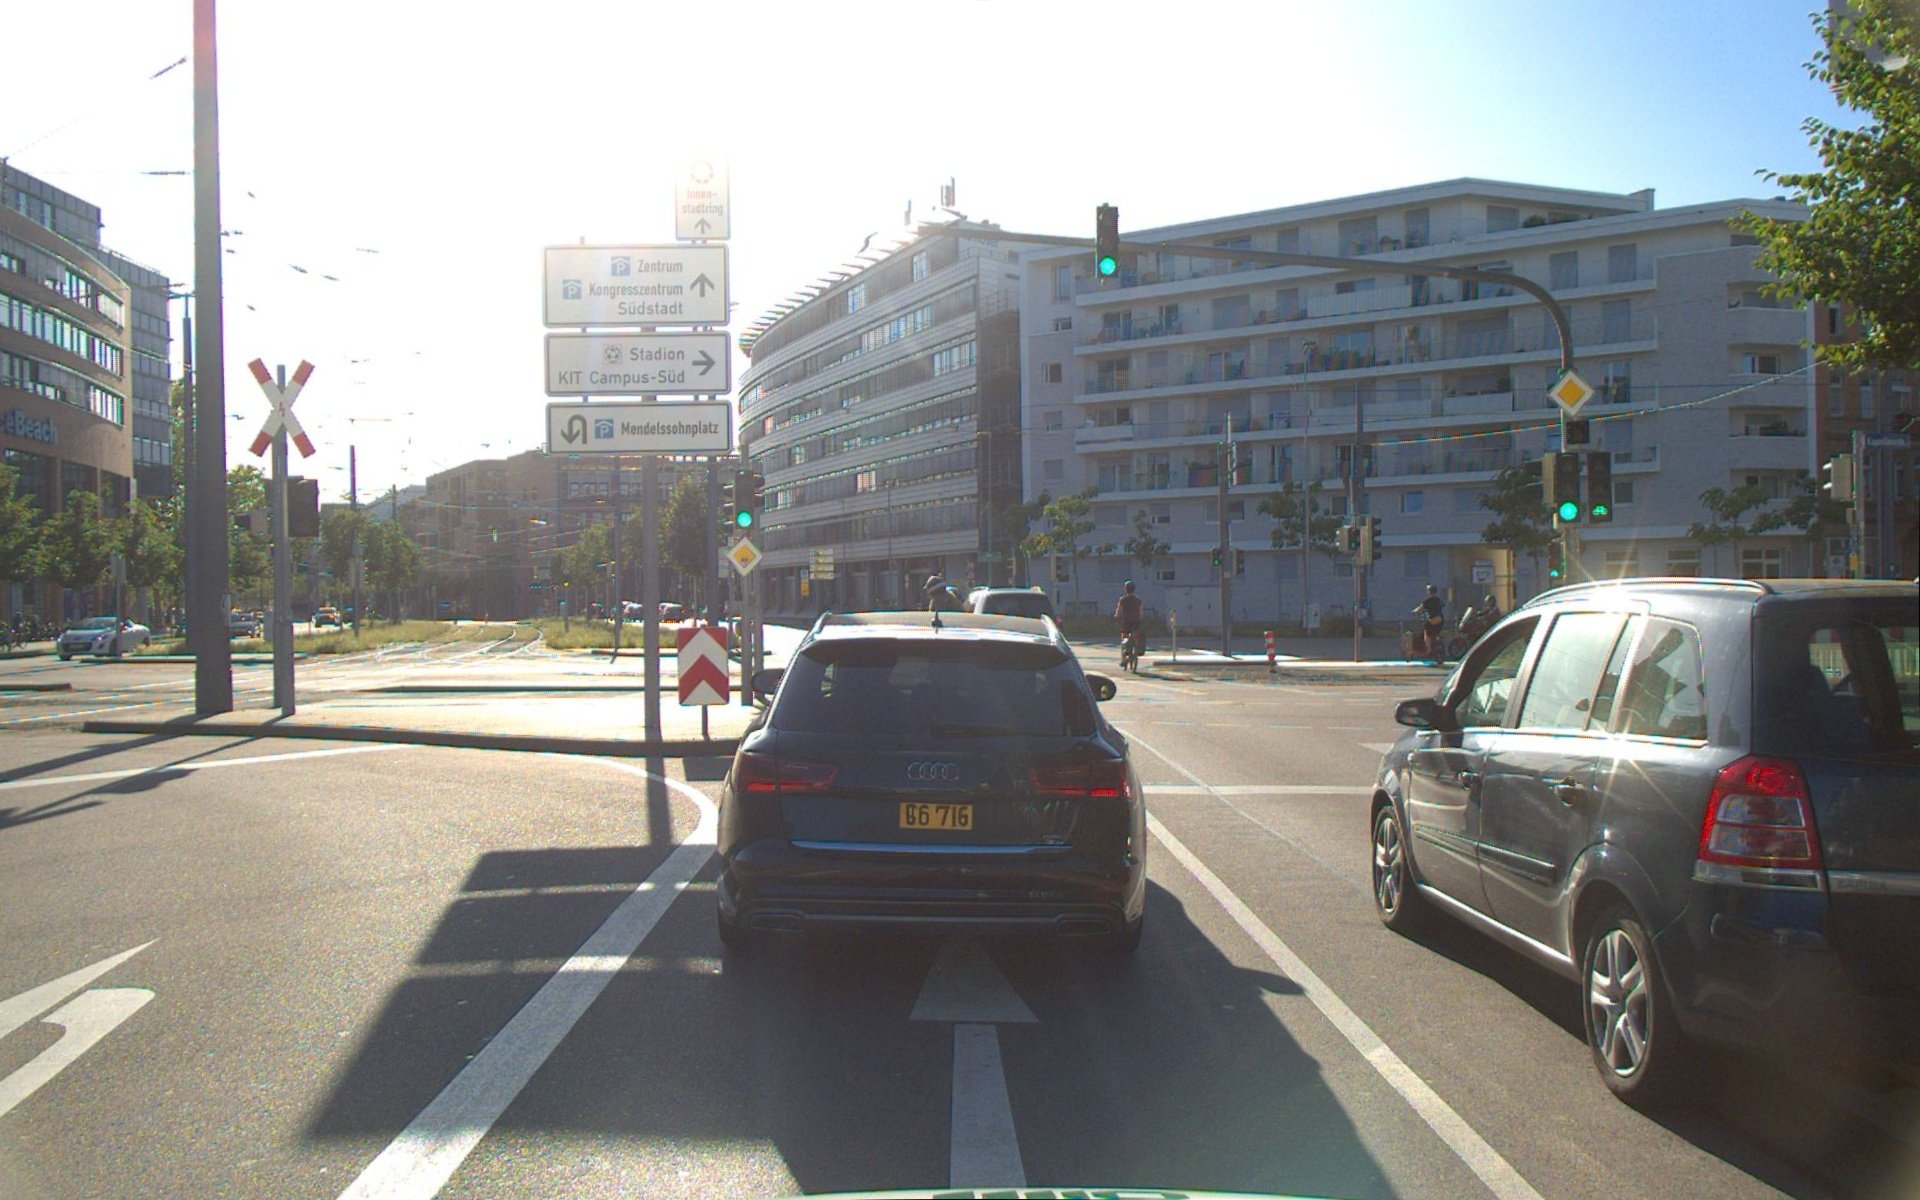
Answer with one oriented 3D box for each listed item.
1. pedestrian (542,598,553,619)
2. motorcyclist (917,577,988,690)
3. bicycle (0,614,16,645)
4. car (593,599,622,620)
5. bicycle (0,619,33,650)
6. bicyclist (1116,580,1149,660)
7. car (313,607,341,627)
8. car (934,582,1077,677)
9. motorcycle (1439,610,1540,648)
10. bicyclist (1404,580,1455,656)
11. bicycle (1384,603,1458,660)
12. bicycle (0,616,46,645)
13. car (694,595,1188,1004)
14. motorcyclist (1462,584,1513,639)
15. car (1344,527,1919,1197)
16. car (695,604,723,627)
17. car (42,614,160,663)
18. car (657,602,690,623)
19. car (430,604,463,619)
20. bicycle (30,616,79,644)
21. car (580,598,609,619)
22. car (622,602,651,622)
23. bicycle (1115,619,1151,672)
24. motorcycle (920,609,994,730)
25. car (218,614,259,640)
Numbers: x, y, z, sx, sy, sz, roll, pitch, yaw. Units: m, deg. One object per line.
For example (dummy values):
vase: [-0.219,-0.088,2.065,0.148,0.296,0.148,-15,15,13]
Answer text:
pedestrian: [-37.655,0.750,151.062,0.888,1.856,0.825,-1,-1,-18]
motorcyclist: [-0.100,0.403,20.279,0.845,1.349,0.681,-1,0,-2]
bicycle: [-46.437,1.434,78.772,2.507,1.458,0.905,-2,-1,7]
car: [-30.474,0.838,142.754,1.964,1.736,3.978,-1,-1,-19]
bicycle: [-46.872,1.702,81.010,2.507,1.458,0.905,-2,-1,7]
bicyclist: [3.693,0.422,35.451,0.640,1.671,0.972,-1,0,2]
car: [-54.811,1.471,143.215,1.963,1.668,4.389,-1,0,-18]
car: [0.827,0.541,32.900,1.967,1.745,4.361,1,0,-11]
motorcycle: [14.727,0.803,46.042,2.407,1.018,1.169,-1,0,-9]
bicyclist: [10.885,0.414,38.382,0.753,1.736,0.927,-1,0,-14]
bicycle: [10.786,0.733,38.803,0.753,1.284,2.074,-1,0,-13]
bicycle: [-50.837,1.652,89.653,2.197,1.458,0.719,-2,-1,7]
car: [-0.112,0.735,8.113,1.805,1.479,3.999,1,0,-1]
motorcyclist: [14.673,0.309,46.040,0.908,1.507,1.169,-1,0,-9]
car: [2.881,0.702,6.436,1.710,1.725,4.260,1,0,-1]
car: [-22.316,1.386,147.091,1.961,1.870,3.982,-1,-1,-16]
car: [-30.107,1.317,58.136,1.954,1.573,4.527,-1,0,-3]
car: [-23.432,1.036,135.115,1.964,1.624,3.977,-1,-1,-19]
car: [-57.258,1.273,184.628,1.951,1.668,4.414,-1,0,5]
bicycle: [-50.867,1.684,92.950,2.369,1.458,0.789,-2,-1,7]
car: [-31.493,0.725,142.343,1.964,1.736,3.978,-1,-1,-19]
car: [-26.921,1.007,137.483,1.961,1.624,3.982,-1,-1,-16]
bicycle: [3.694,0.957,35.450,0.640,1.061,1.930,-1,0,2]
motorcycle: [-0.054,0.821,20.389,0.845,1.417,1.893,-1,0,-2]
car: [-43.326,1.605,99.232,1.874,1.431,3.961,-2,1,-29]
